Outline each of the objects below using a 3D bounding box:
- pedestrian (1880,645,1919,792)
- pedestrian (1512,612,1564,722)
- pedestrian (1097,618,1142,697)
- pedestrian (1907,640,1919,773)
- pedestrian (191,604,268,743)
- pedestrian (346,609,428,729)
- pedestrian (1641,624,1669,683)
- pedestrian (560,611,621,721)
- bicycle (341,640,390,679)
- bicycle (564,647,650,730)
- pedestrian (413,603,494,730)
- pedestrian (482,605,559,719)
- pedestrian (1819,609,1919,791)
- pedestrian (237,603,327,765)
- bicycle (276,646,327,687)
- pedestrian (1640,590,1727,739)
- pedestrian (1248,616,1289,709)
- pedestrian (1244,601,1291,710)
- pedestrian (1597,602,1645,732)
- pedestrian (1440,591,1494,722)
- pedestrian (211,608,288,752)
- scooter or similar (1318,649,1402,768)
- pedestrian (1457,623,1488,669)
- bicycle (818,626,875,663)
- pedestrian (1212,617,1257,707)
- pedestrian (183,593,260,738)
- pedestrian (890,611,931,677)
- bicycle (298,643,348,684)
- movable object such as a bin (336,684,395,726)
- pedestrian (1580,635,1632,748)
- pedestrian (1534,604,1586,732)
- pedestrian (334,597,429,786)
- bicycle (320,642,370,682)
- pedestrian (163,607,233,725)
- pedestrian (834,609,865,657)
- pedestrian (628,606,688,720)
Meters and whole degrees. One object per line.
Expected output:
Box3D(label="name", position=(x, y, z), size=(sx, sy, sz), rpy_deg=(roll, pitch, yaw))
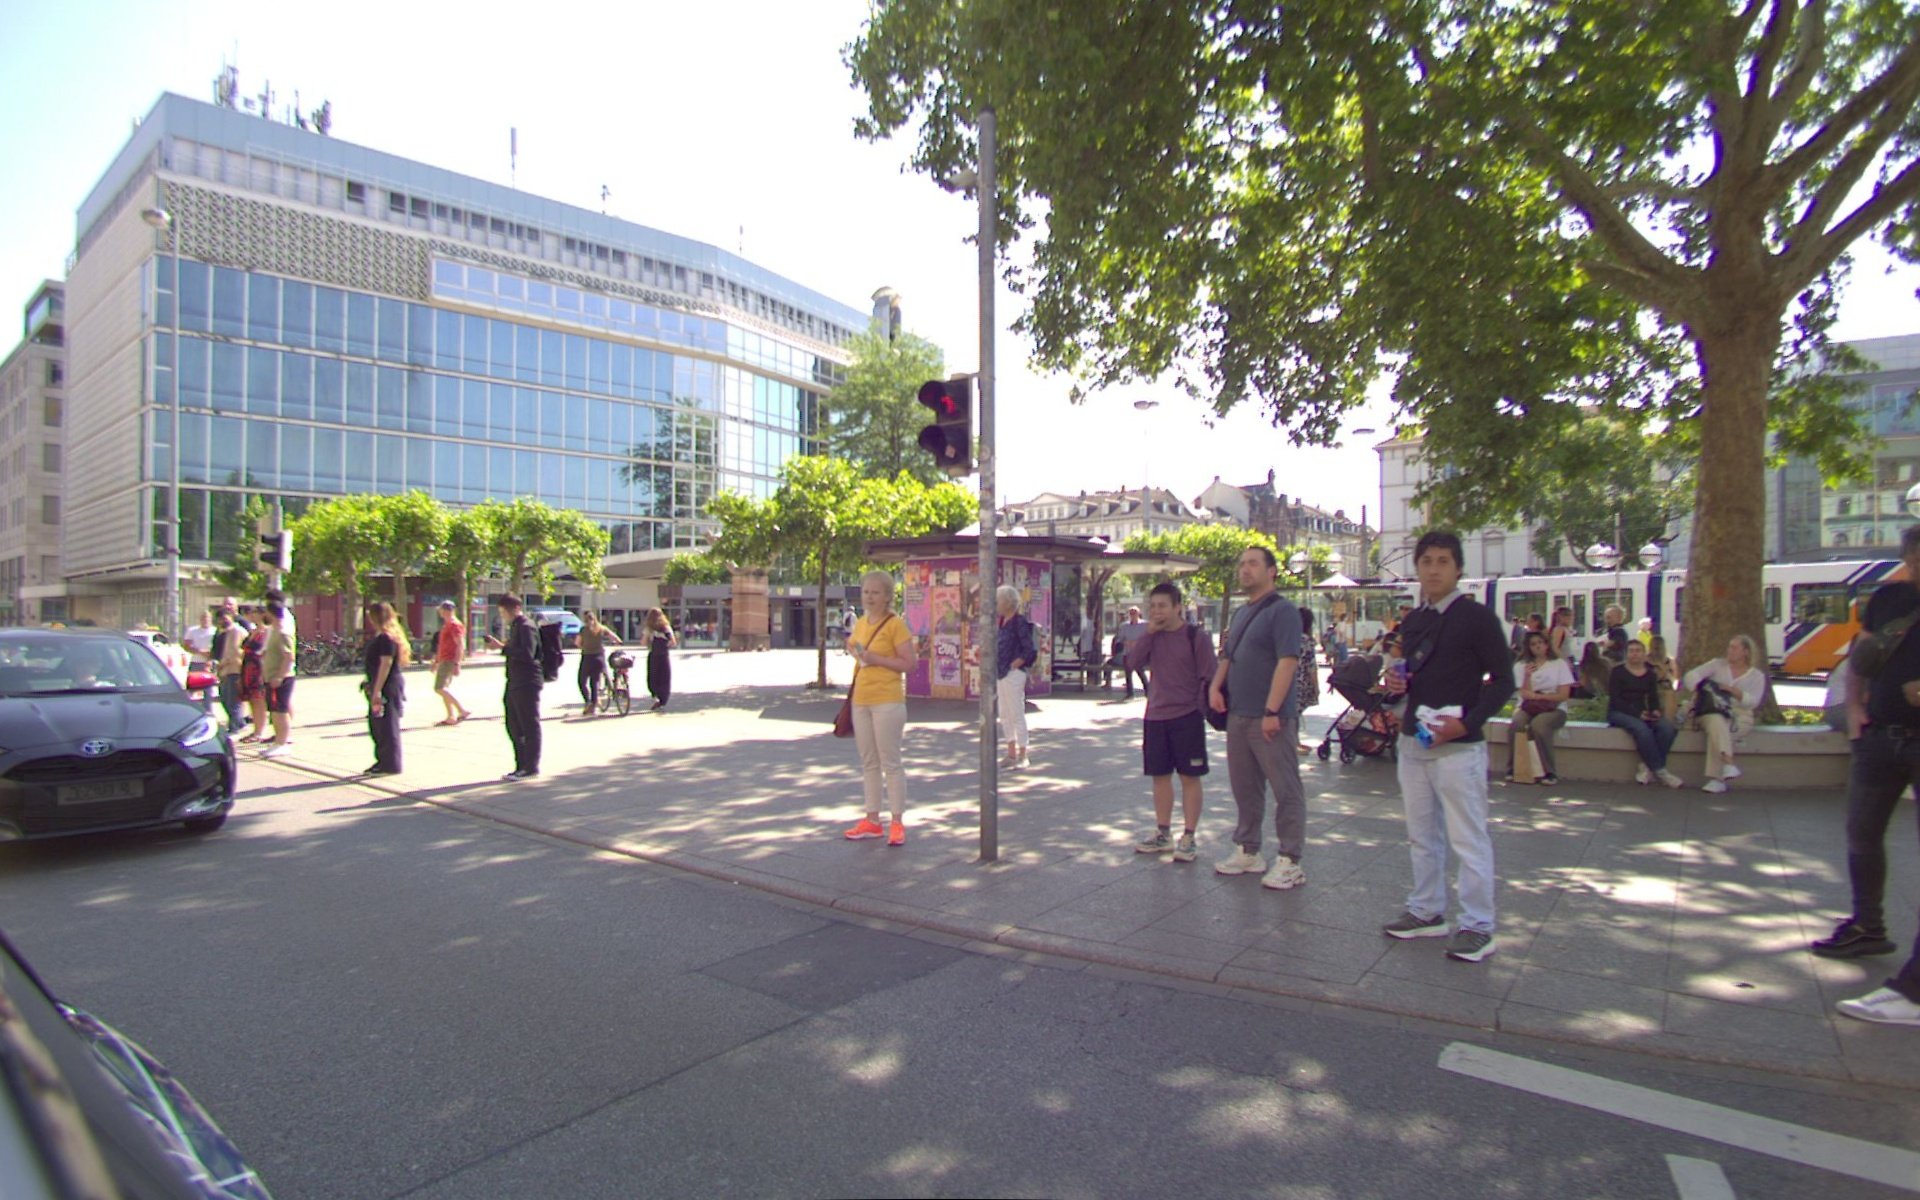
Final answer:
Box3D(label="pedestrian", position=(8.091, 0.983, 8.471), size=(0.499, 1.182, 0.350), rpy_deg=(-1, 0, -17))
Box3D(label="pedestrian", position=(8.297, 0.944, 14.542), size=(0.605, 1.537, 0.543), rpy_deg=(-1, 0, 30))
Box3D(label="pedestrian", position=(3.174, 1.135, 20.171), size=(0.772, 1.518, 0.751), rpy_deg=(-1, 0, 2))
Box3D(label="pedestrian", position=(9.068, 0.976, 9.203), size=(0.493, 1.215, 0.461), rpy_deg=(-1, 0, -17))
Box3D(label="pedestrian", position=(-9.649, 0.943, 13.367), size=(0.732, 1.760, 0.631), rpy_deg=(-1, 0, 38))
Box3D(label="pedestrian", position=(-8.866, 1.040, 15.657), size=(0.732, 1.760, 0.866), rpy_deg=(-1, 0, 38))
Box3D(label="pedestrian", position=(18.098, 1.381, 26.353), size=(0.547, 1.483, 0.456), rpy_deg=(-1, 0, -43))
Box3D(label="pedestrian", position=(-5.872, 1.025, 16.069), size=(0.721, 1.683, 0.641), rpy_deg=(-1, 0, -37))
Box3D(label="bicycle", position=(-18.537, 1.850, 31.552), size=(1.753, 1.156, 0.586), rpy_deg=(-1, -1, 32))
Box3D(label="bicycle", position=(-5.621, 1.365, 16.050), size=(0.718, 1.152, 1.917), rpy_deg=(-1, 0, -37))
Box3D(label="pedestrian", position=(-7.327, 0.942, 14.645), size=(0.730, 1.760, 0.744), rpy_deg=(-1, 0, 30))
Box3D(label="pedestrian", position=(-7.032, 0.970, 16.196), size=(0.881, 1.760, 0.715), rpy_deg=(-1, 0, 30))
Box3D(label="pedestrian", position=(7.989, 0.818, 8.645), size=(0.570, 1.472, 0.788), rpy_deg=(-1, 0, -17))
Box3D(label="pedestrian", position=(-7.751, 0.929, 11.570), size=(0.732, 1.760, 0.631), rpy_deg=(-1, 0, 38))
Box3D(label="bicycle", position=(-19.448, 1.944, 29.880), size=(1.753, 1.156, 0.586), rpy_deg=(-1, -1, 32))
Box3D(label="pedestrian", position=(8.939, 0.772, 12.531), size=(0.779, 1.760, 0.662), rpy_deg=(-1, 0, 30))
Box3D(label="pedestrian", position=(5.249, 1.051, 17.210), size=(0.484, 1.537, 0.456), rpy_deg=(-1, 0, -43))
Box3D(label="pedestrian", position=(5.010, 0.886, 16.479), size=(0.547, 1.740, 0.492), rpy_deg=(-1, 0, -43))
Box3D(label="pedestrian", position=(8.805, 0.876, 13.498), size=(0.470, 1.681, 0.498), rpy_deg=(-1, 0, 30))
Box3D(label="pedestrian", position=(6.997, 0.763, 13.957), size=(0.611, 1.760, 0.532), rpy_deg=(-1, 0, 30))
Box3D(label="pedestrian", position=(-9.044, 0.990, 12.890), size=(0.605, 1.760, 0.631), rpy_deg=(-1, 0, 38))
Box3D(label="scooter or similar", position=(4.056, 1.081, 10.279), size=(0.559, 1.128, 0.540), rpy_deg=(-1, 0, -23))
Box3D(label="pedestrian", position=(17.190, 1.524, 33.944), size=(0.547, 1.483, 0.758), rpy_deg=(-1, 0, -43))
Box3D(label="bicycle", position=(-4.264, 1.655, 38.167), size=(0.732, 1.254, 2.327), rpy_deg=(-1, 0, 38))
Box3D(label="pedestrian", position=(4.669, 1.044, 17.223), size=(0.449, 1.483, 0.556), rpy_deg=(-1, 0, -42))
Box3D(label="pedestrian", position=(-10.281, 0.882, 14.080), size=(0.859, 1.934, 0.631), rpy_deg=(-1, 0, 38))
Box3D(label="pedestrian", position=(-1.384, 1.208, 28.195), size=(0.732, 1.760, 0.866), rpy_deg=(-1, 0, 38))
Box3D(label="bicycle", position=(-19.159, 1.889, 30.432), size=(1.753, 1.156, 0.586), rpy_deg=(-1, -1, 32))
Box3D(label="movable object such as a bin", position=(-9.443, 1.659, 16.088), size=(0.528, 0.584, 0.654), rpy_deg=(-1, 0, 38))
Box3D(label="pedestrian", position=(7.999, 1.117, 12.549), size=(0.490, 1.347, 0.431), rpy_deg=(-1, 0, 30))
Box3D(label="pedestrian", position=(8.041, 0.896, 13.581), size=(0.553, 1.657, 0.524), rpy_deg=(-1, 0, 30))
Box3D(label="pedestrian", position=(-5.562, 0.846, 9.736), size=(0.651, 1.726, 0.568), rpy_deg=(-1, 0, 38))
Box3D(label="bicycle", position=(-18.845, 1.884, 30.997), size=(1.753, 1.156, 0.586), rpy_deg=(-1, -1, 32))
Box3D(label="pedestrian", position=(-11.789, 1.001, 15.679), size=(0.720, 1.760, 0.642), rpy_deg=(-1, 0, -26))
Box3D(label="pedestrian", position=(-4.171, 1.234, 38.290), size=(0.732, 1.760, 0.866), rpy_deg=(-1, 0, 38))
Box3D(label="pedestrian", position=(-4.883, 0.991, 16.340), size=(0.721, 1.760, 0.641), rpy_deg=(-1, 0, -37))
